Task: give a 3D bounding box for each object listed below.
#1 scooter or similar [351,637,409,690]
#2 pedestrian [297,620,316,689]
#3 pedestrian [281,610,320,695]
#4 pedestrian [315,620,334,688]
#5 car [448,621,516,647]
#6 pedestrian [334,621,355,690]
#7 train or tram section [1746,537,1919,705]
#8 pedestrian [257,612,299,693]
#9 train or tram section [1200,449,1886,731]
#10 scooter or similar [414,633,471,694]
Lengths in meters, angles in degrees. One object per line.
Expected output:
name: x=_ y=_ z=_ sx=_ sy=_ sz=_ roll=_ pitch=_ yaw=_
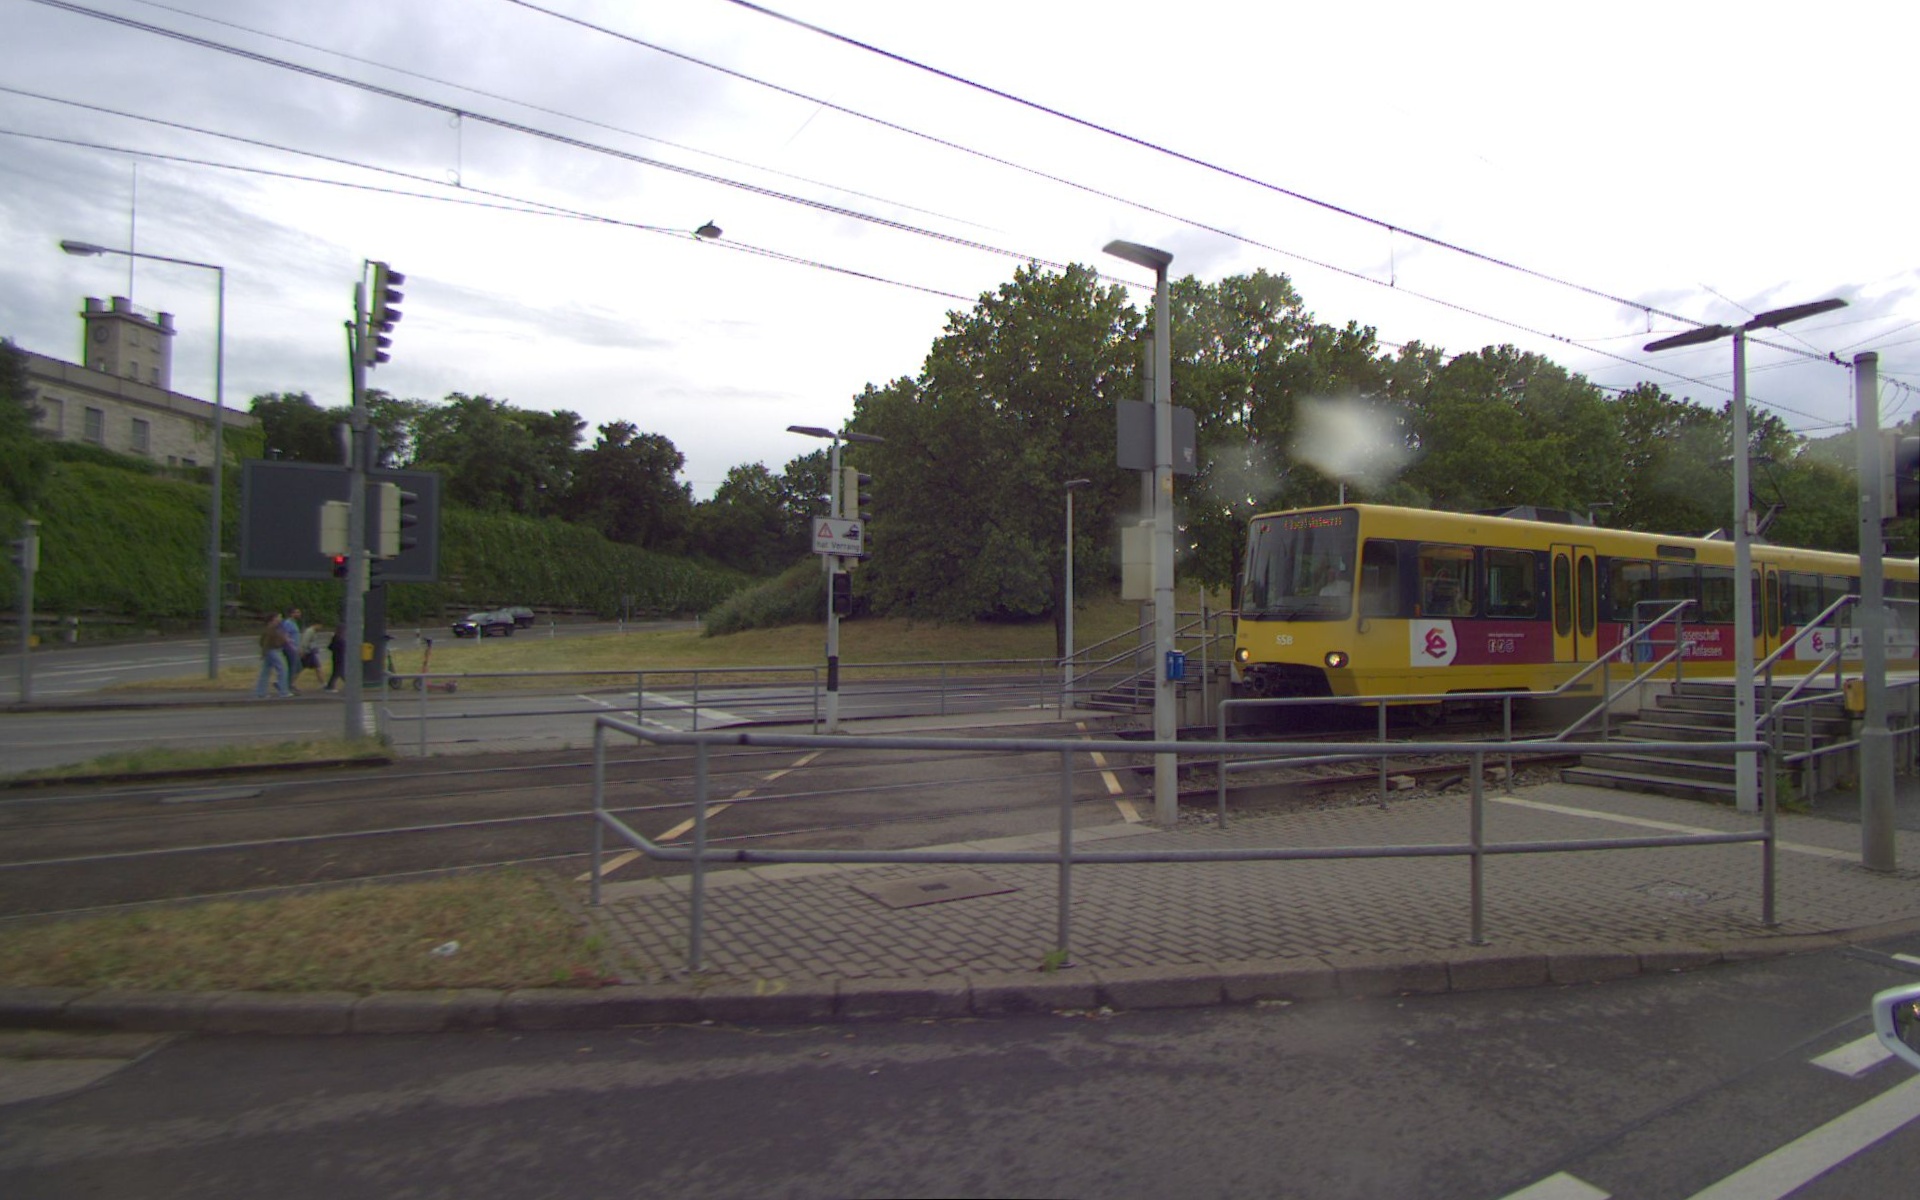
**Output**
scooter or similar: x=-13.545 y=1.475 z=23.484 sx=0.374 sy=1.188 sz=1.141 roll=-1 pitch=-2 yaw=28
pedestrian: x=-14.886 y=1.232 z=22.875 sx=0.303 sy=1.539 sz=0.309 roll=2 pitch=0 yaw=-29
pedestrian: x=-14.104 y=1.115 z=21.483 sx=0.615 sy=1.770 sz=0.498 roll=2 pitch=0 yaw=-29
pedestrian: x=-14.631 y=1.242 z=23.137 sx=0.303 sy=1.539 sz=0.231 roll=2 pitch=0 yaw=-29
car: x=-30.499 y=2.165 z=64.215 sx=3.838 sy=1.595 sz=1.884 roll=1 pitch=-2 yaw=-23
pedestrian: x=-13.968 y=1.263 z=22.799 sx=0.350 sy=1.540 sz=0.347 roll=2 pitch=0 yaw=-29
train or tram section: x=29.819 y=0.815 z=29.647 sx=19.089 sy=4.006 sz=2.856 roll=2 pitch=0 yaw=-28
pedestrian: x=-14.183 y=1.091 z=20.897 sx=0.624 sy=1.649 sz=0.408 roll=2 pitch=0 yaw=-29
train or tram section: x=13.034 y=0.170 z=20.355 sx=19.103 sy=4.026 sz=2.854 roll=2 pitch=0 yaw=-30
scooter or similar: x=-11.995 y=1.464 z=23.301 sx=1.190 sy=1.381 sz=0.411 roll=0 pitch=-1 yaw=14
